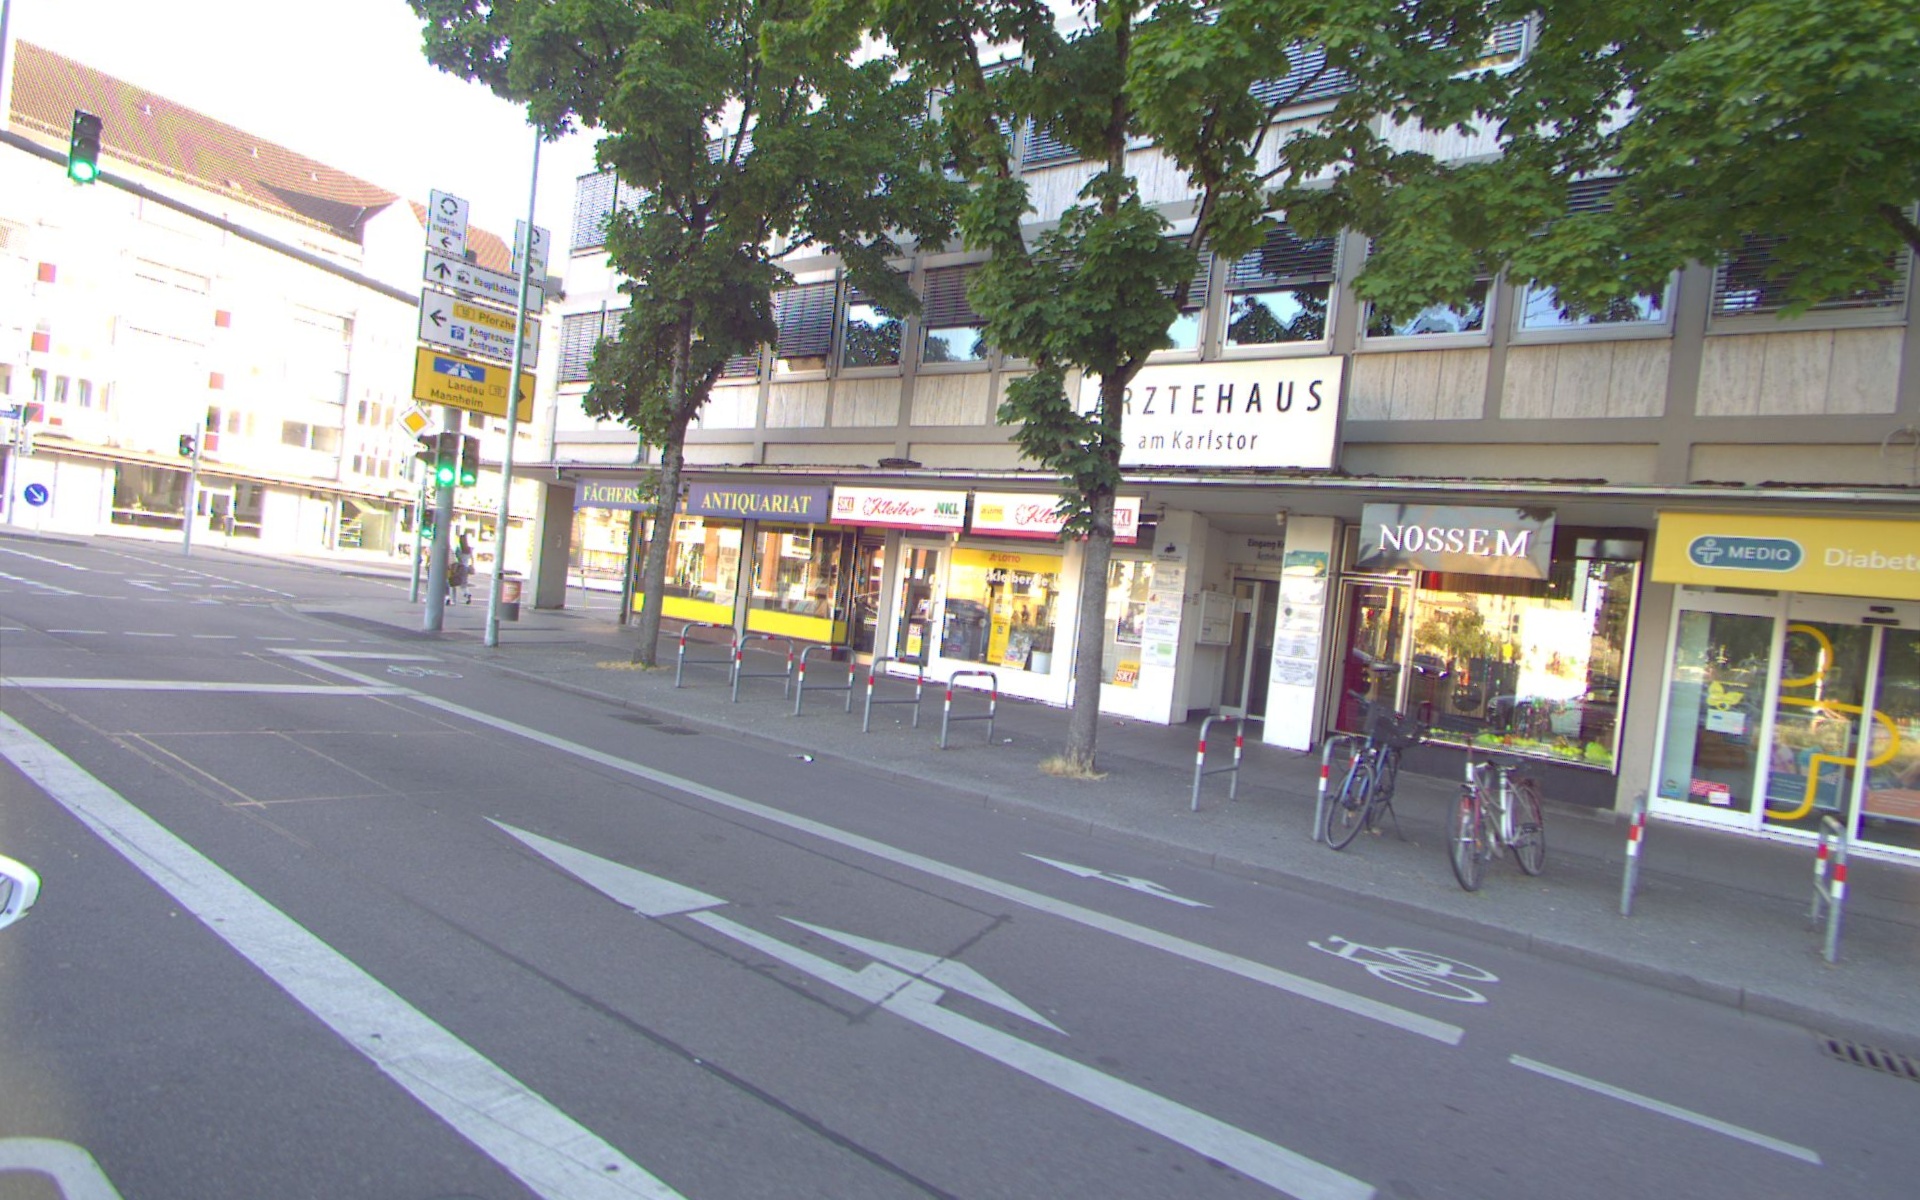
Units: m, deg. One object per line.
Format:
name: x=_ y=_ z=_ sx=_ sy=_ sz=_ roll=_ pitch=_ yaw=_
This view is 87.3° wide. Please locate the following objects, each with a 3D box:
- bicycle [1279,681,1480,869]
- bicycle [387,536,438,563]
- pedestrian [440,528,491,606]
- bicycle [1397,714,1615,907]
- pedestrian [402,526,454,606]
bicycle: x=3.396 y=1.349 z=8.052 sx=1.898 sy=1.251 sz=0.660 roll=6 pitch=1 yaw=-44
bicycle: x=-31.447 y=-2.893 z=57.793 sx=0.809 sy=1.281 sz=2.408 roll=7 pitch=0 yaw=30
pedestrian: x=-11.395 y=-0.764 z=23.182 sx=0.661 sy=1.688 sz=0.722 roll=7 pitch=1 yaw=39
bicycle: x=4.008 y=1.456 z=7.307 sx=1.989 sy=1.124 sz=0.660 roll=7 pitch=1 yaw=-42
pedestrian: x=-11.800 y=-0.750 z=22.300 sx=0.661 sy=1.688 sz=0.683 roll=7 pitch=1 yaw=39
